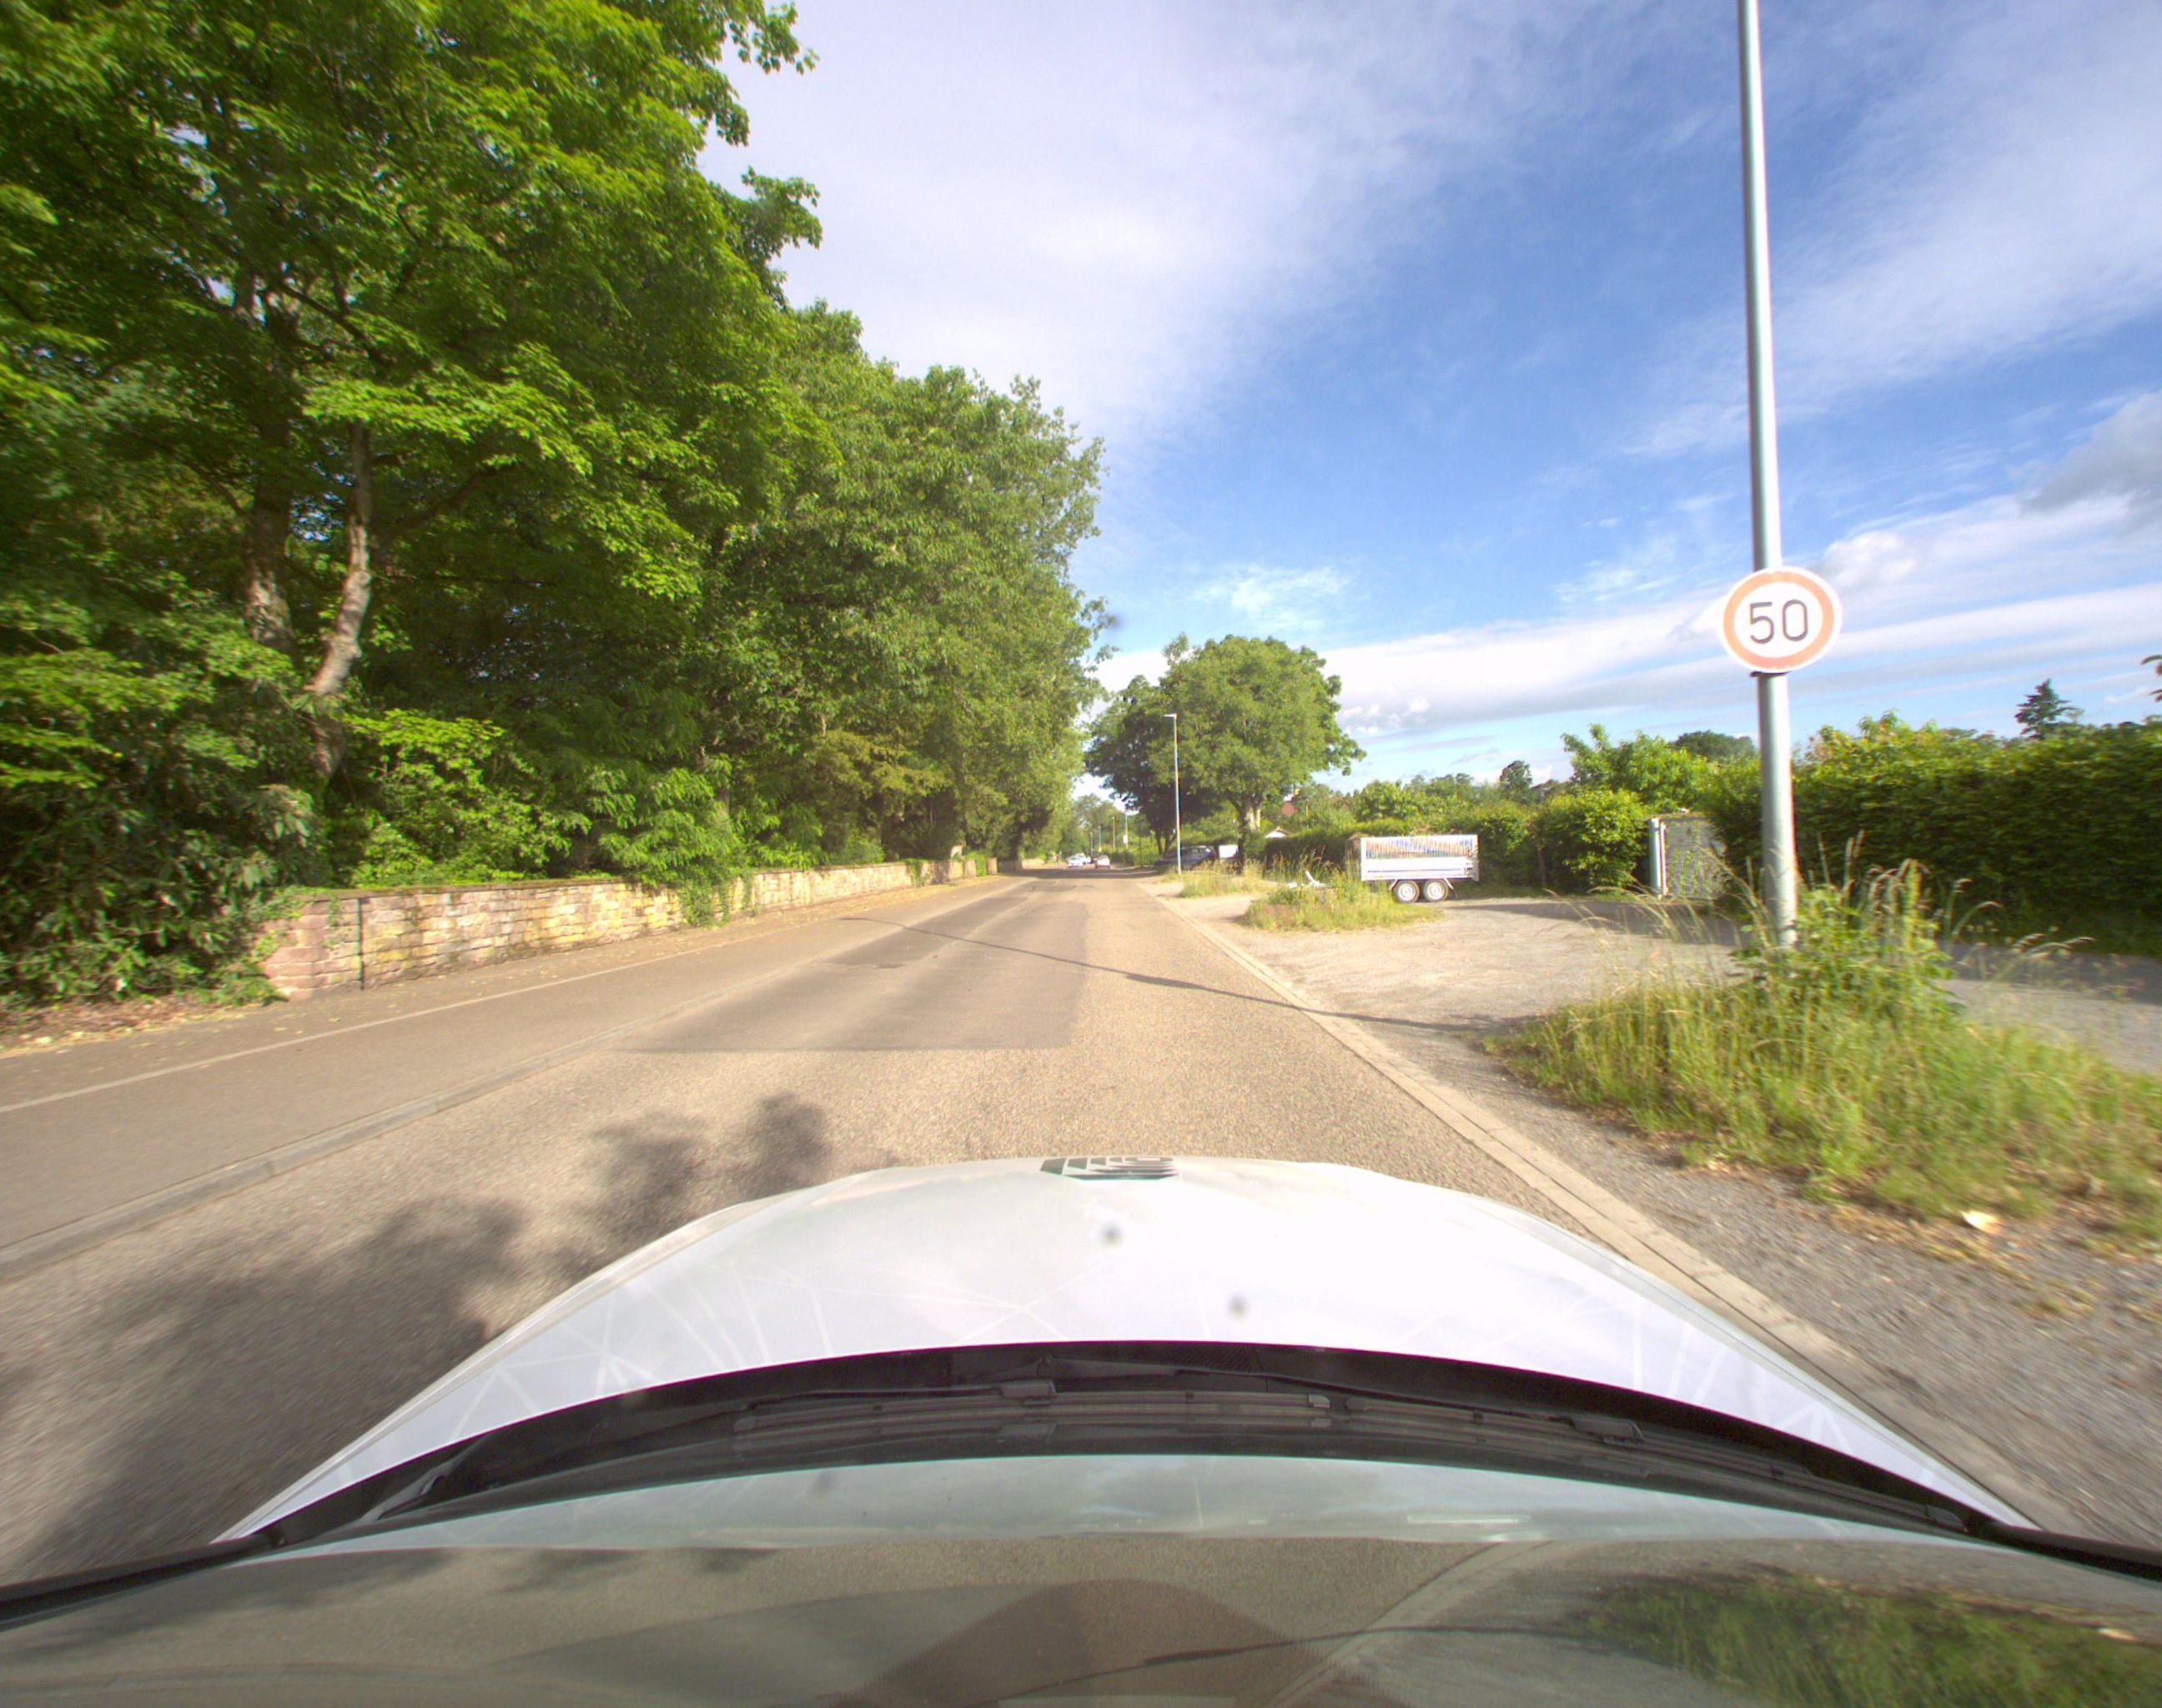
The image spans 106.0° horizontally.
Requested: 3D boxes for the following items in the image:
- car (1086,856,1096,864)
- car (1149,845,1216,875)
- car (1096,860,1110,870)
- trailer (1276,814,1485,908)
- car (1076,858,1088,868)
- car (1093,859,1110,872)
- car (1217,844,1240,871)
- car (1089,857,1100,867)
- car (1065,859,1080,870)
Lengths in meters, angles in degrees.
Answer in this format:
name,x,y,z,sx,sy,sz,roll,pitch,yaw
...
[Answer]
name,x,y,z,sx,sy,sz,roll,pitch,yaw
car,2.124,1.287,174.940,1.880,1.613,4.054,-2,0,0
car,7.105,0.419,57.200,4.387,1.646,2.001,-5,0,1
car,3.274,1.620,121.290,1.880,1.465,4.054,-2,0,0
trailer,6.818,0.155,18.912,4.132,1.835,1.919,-3,0,5
car,0.197,1.464,136.426,1.880,1.564,4.054,-2,0,0
car,2.343,1.265,93.786,1.880,1.372,4.054,-2,0,0
car,10.033,0.202,55.327,1.342,1.632,4.125,-5,0,11
car,2.361,1.436,147.962,1.880,1.613,4.054,-2,0,0
car,-1.082,1.335,107.130,1.881,1.372,4.052,-2,0,-1
